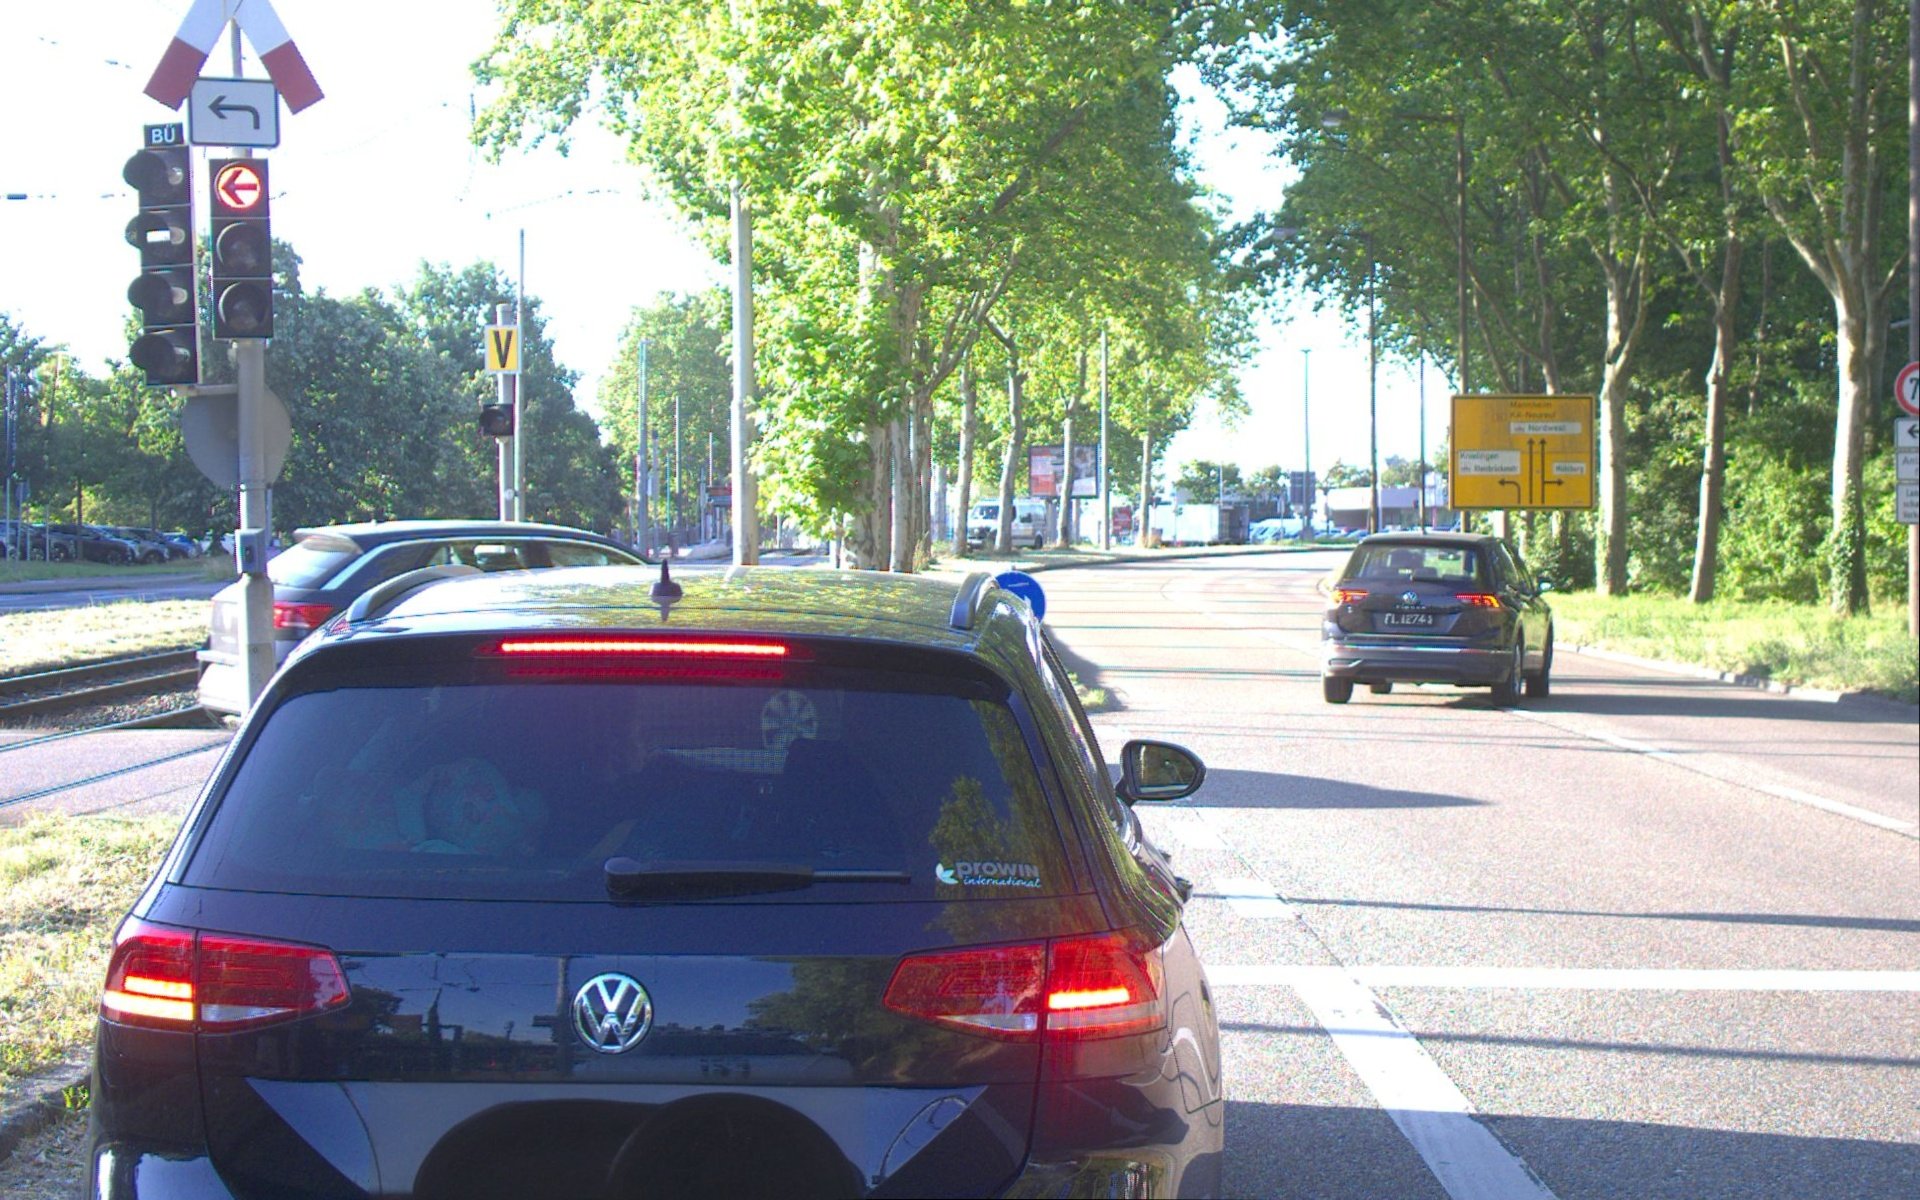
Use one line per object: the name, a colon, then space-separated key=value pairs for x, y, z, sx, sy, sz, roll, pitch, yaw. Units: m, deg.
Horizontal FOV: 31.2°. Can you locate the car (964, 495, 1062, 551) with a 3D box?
car: x=2.423 y=-3.485 z=155.525 sx=2.098 sy=2.453 sz=5.844 roll=1 pitch=2 yaw=27

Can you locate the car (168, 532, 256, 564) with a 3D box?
car: x=-36.519 y=-2.537 z=167.976 sx=3.986 sy=1.550 sz=1.744 roll=1 pitch=1 yaw=-4

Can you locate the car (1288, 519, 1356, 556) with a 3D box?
car: x=20.694 y=-3.596 z=196.408 sx=2.098 sy=2.058 sz=4.872 roll=2 pitch=2 yaw=29

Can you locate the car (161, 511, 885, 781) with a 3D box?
car: x=-2.723 y=0.257 z=21.493 sx=4.151 sy=1.555 sz=1.713 roll=0 pitch=1 yaw=-25

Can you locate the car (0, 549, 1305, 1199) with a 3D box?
car: x=-0.476 y=0.652 z=6.407 sx=1.795 sy=1.459 sz=3.583 roll=1 pitch=1 yaw=-1

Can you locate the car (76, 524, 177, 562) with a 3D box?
car: x=-36.126 y=-2.466 z=149.062 sx=3.986 sy=1.615 sz=1.744 roll=1 pitch=1 yaw=-5

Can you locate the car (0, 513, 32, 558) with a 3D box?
car: x=-35.923 y=-2.356 z=124.994 sx=3.986 sy=1.615 sz=1.744 roll=1 pitch=1 yaw=-5

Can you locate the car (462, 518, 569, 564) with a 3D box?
car: x=-14.716 y=-1.960 z=113.963 sx=1.864 sy=1.476 sz=4.088 roll=1 pitch=1 yaw=19

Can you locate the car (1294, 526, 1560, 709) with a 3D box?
car: x=4.564 y=0.126 z=33.098 sx=1.873 sy=1.629 sz=4.366 roll=0 pitch=1 yaw=17
